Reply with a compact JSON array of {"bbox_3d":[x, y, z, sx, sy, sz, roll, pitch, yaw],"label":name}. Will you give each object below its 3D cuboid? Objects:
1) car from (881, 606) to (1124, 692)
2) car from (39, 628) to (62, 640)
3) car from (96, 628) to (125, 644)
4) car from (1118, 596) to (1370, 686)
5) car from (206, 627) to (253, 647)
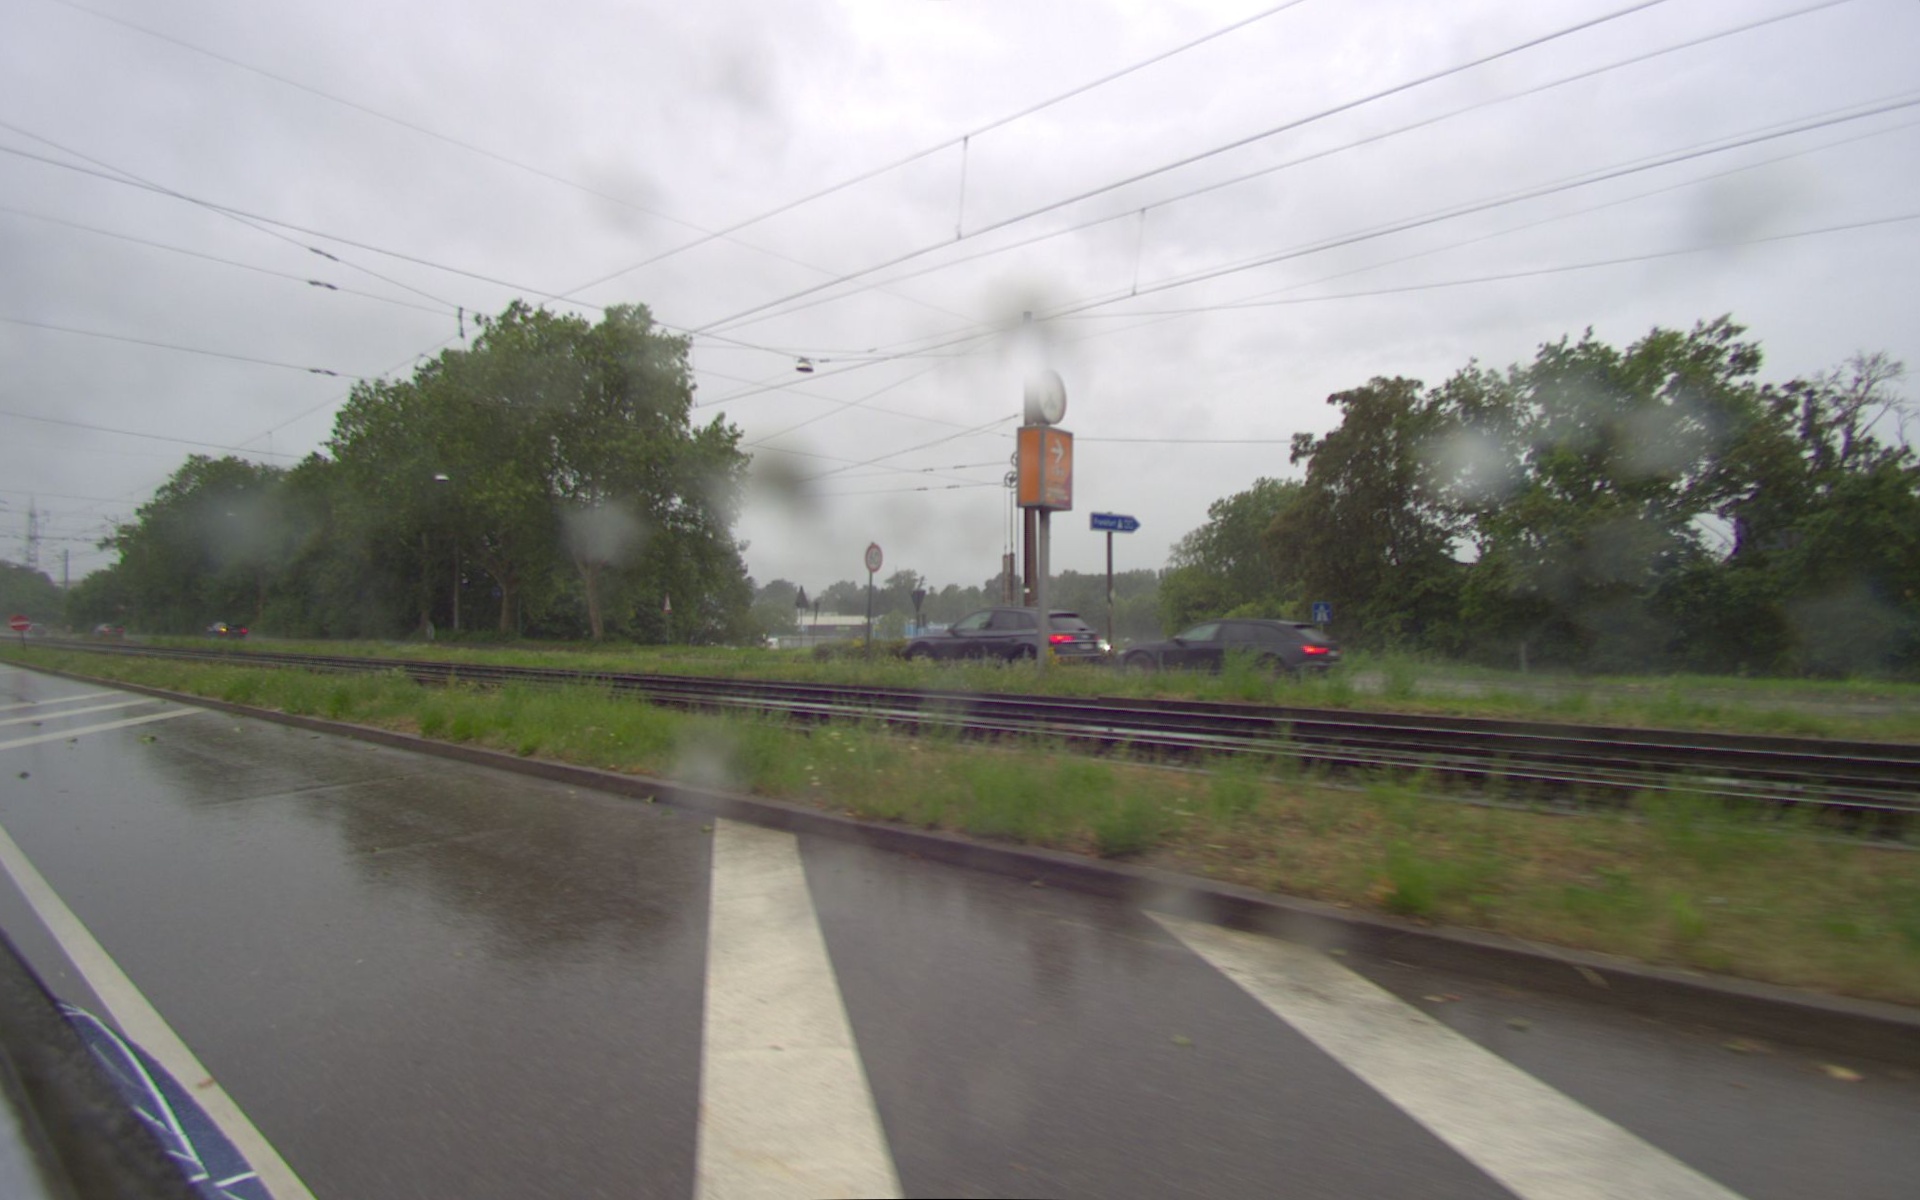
[{"bbox_3d":[0.812,0.990,21.547,4.981,1.628,1.925,-2,-1,38],"label":"car"},{"bbox_3d":[-111.713,4.120,124.297,3.937,1.416,1.665,-1,-1,40],"label":"car"},{"bbox_3d":[-87.469,3.667,104.181,4.044,1.580,1.634,-1,-1,40],"label":"car"},{"bbox_3d":[5.913,0.840,21.408,4.774,1.699,1.924,-2,-1,38],"label":"car"},{"bbox_3d":[-59.277,2.985,82.102,4.277,1.540,2.188,-1,-1,42],"label":"car"}]
